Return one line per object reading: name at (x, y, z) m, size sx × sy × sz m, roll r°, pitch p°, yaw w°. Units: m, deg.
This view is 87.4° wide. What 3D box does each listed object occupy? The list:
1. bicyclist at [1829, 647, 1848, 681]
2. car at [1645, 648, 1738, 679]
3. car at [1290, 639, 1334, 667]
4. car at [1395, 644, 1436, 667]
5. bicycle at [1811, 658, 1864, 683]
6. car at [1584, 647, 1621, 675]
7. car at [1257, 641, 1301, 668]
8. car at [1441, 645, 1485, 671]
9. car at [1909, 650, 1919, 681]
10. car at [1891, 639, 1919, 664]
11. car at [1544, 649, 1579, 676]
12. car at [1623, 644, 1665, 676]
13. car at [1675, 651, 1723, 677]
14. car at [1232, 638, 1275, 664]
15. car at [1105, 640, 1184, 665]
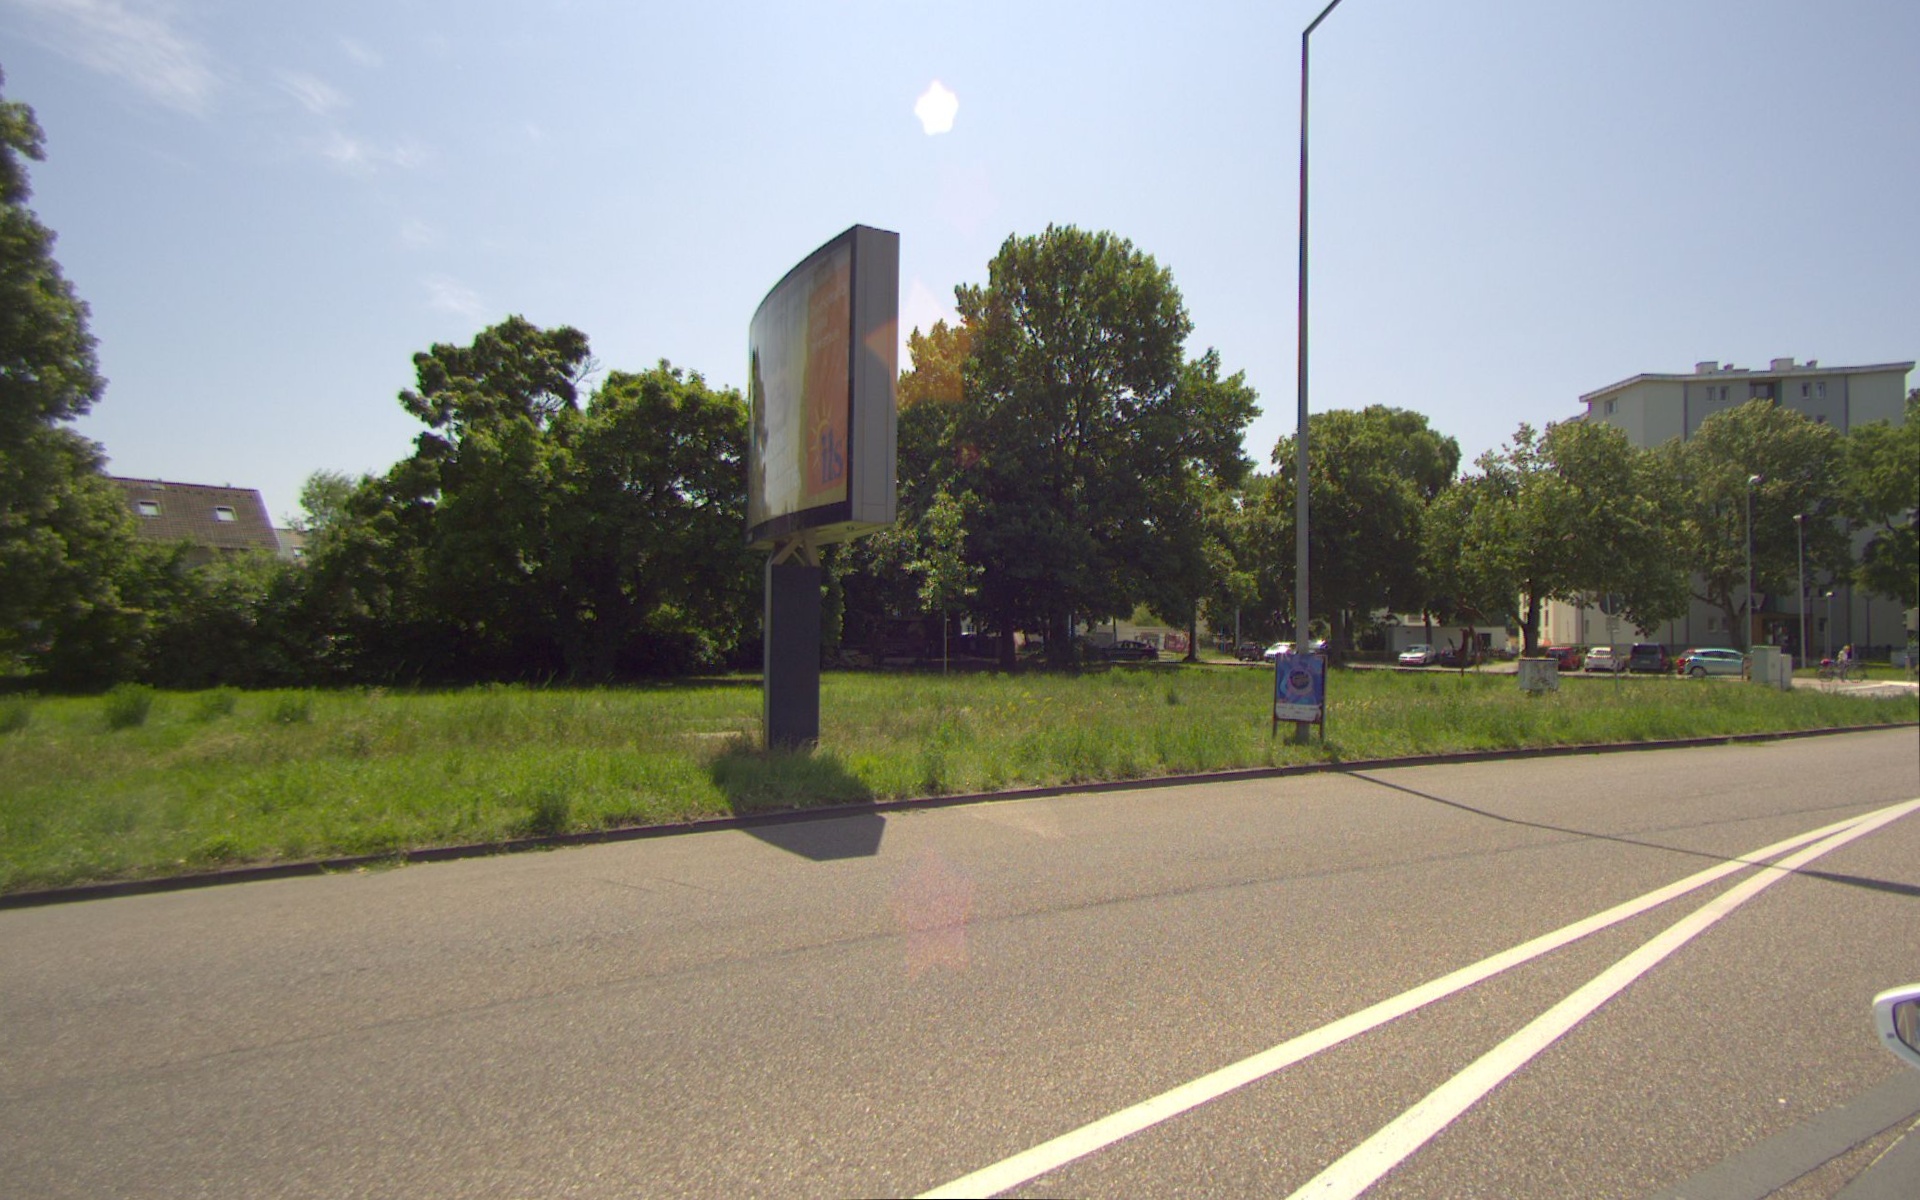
bicyclist at (40.930, 2.976, 46.794) m, size 0.656 × 1.557 × 0.628 m, roll -1°, pitch -2°, yaw 42°
car at (38.230, 3.273, 52.525) m, size 3.839 × 1.488 × 1.767 m, roll -1°, pitch -2°, yaw 40°
car at (26.645, 3.975, 76.021) m, size 1.825 × 1.973 × 3.980 m, roll 0°, pitch -1°, yaw 41°
car at (32.572, 3.975, 71.777) m, size 1.669 × 1.583 × 3.818 m, roll -1°, pitch -3°, yaw 42°
bicycle at (40.876, 3.272, 46.831) m, size 1.843 × 1.108 × 0.643 m, roll -1°, pitch -2°, yaw 42°
car at (40.986, 3.854, 64.009) m, size 1.683 × 1.613 × 3.985 m, roll 0°, pitch -1°, yaw 37°
car at (24.823, 4.219, 78.010) m, size 1.825 × 1.973 × 3.980 m, roll 0°, pitch -1°, yaw 41°
car at (35.126, 3.996, 70.090) m, size 1.825 × 1.733 × 3.980 m, roll -1°, pitch -3°, yaw 41°
car at (49.373, 3.250, 48.702) m, size 1.893 × 1.518 × 4.586 m, roll 2°, pitch -2°, yaw -34°
car at (68.868, 3.646, 70.791) m, size 4.457 × 1.791 × 1.793 m, roll 0°, pitch -2°, yaw 14°
car at (39.460, 4.061, 65.841) m, size 1.821 × 1.690 × 3.989 m, roll -1°, pitch -3°, yaw 33°
car at (42.185, 3.655, 61.923) m, size 1.685 × 1.824 × 3.980 m, roll 0°, pitch -1°, yaw 41°
car at (44.398, 3.816, 60.348) m, size 3.971 × 1.483 × 1.603 m, roll 2°, pitch -2°, yaw -42°
car at (23.555, 4.030, 80.484) m, size 1.825 × 1.973 × 3.980 m, roll 0°, pitch -1°, yaw 41°
car at (11.612, 3.284, 63.329) m, size 4.500 × 1.487 × 1.998 m, roll 0°, pitch -2°, yaw -9°
